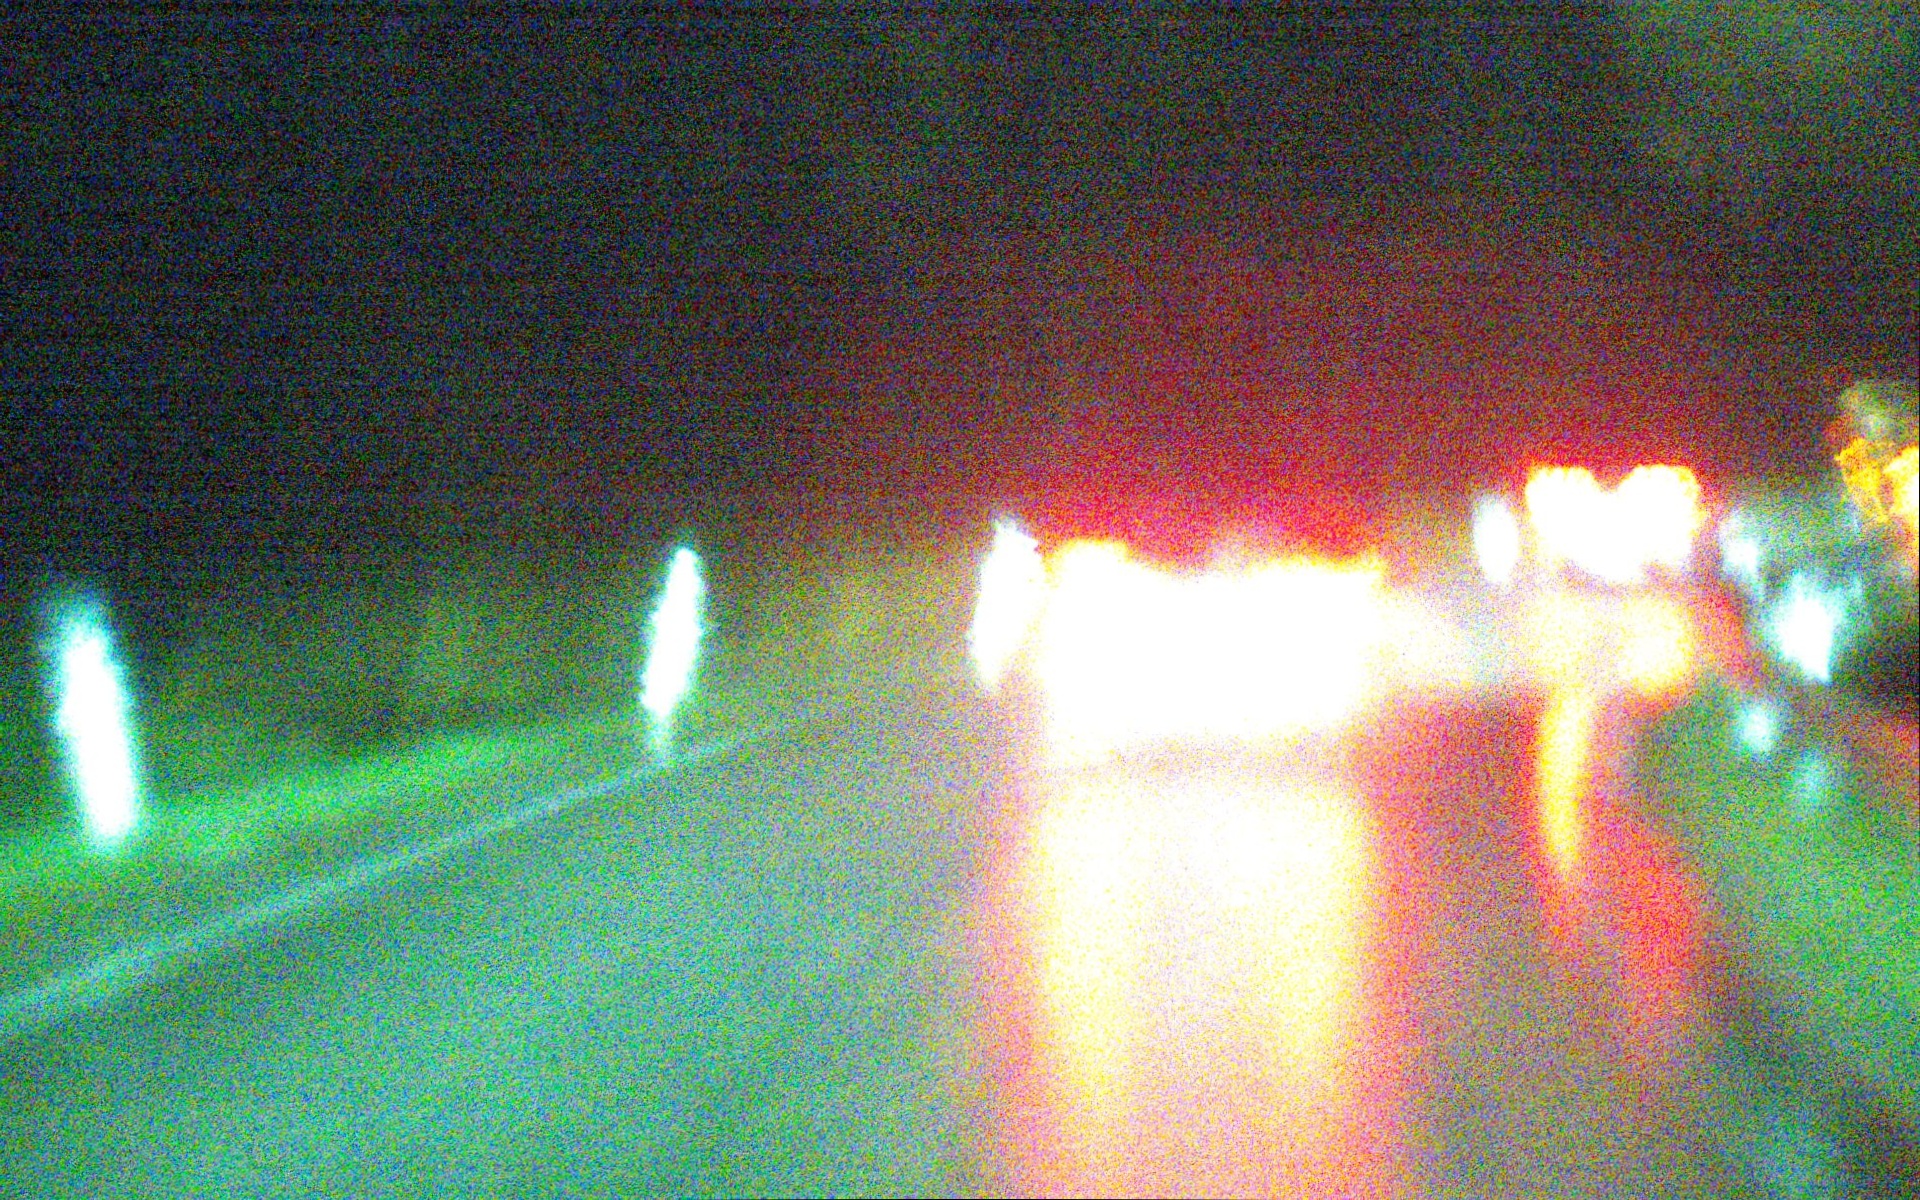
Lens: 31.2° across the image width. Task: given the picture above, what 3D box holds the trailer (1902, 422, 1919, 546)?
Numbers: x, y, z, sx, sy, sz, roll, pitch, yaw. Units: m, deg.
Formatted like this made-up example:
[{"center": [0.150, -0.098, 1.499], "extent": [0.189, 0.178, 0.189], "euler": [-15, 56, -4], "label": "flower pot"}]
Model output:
[{"center": [18.506, -1.983, 61.282], "extent": [2.080, 2.007, 10.635], "euler": [-3, -1, 21], "label": "trailer"}]
